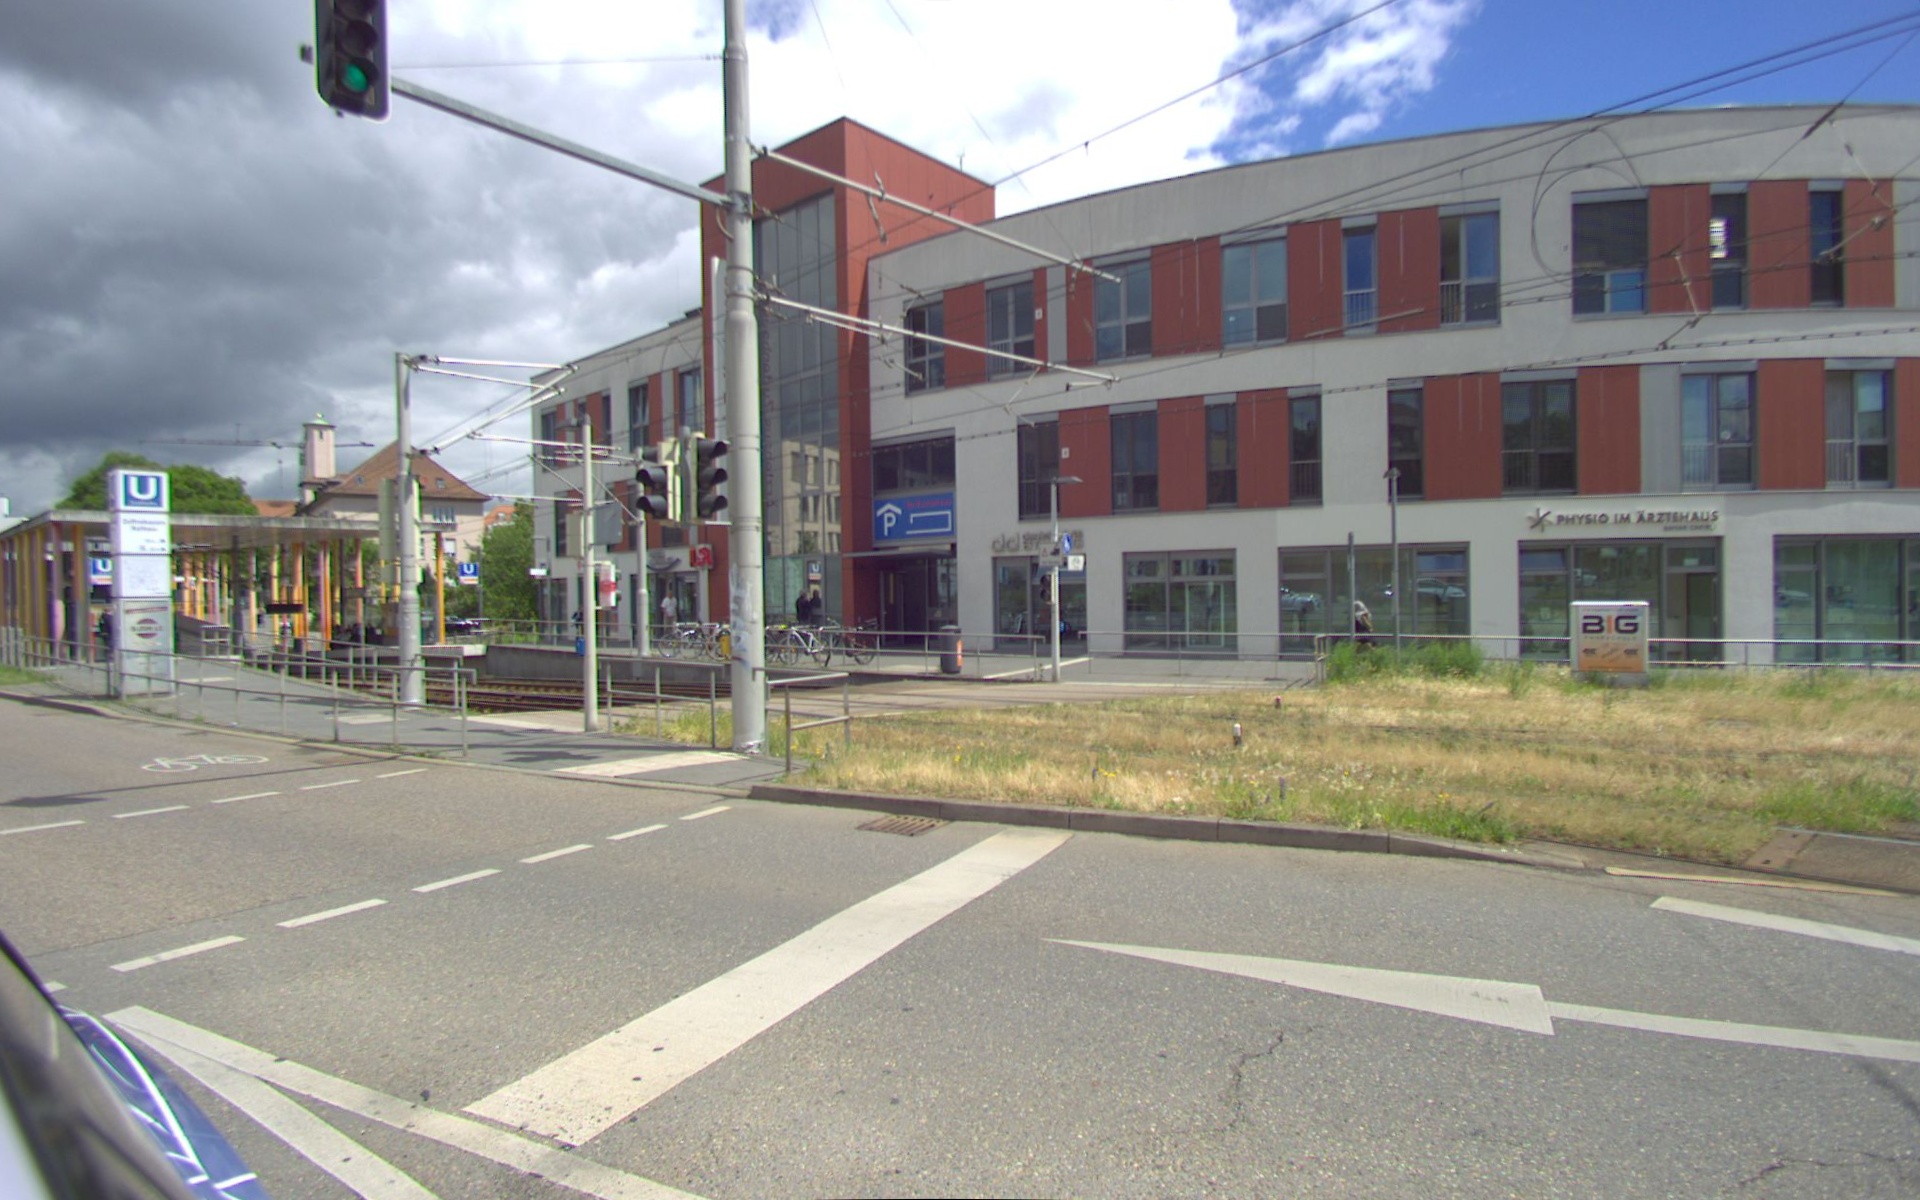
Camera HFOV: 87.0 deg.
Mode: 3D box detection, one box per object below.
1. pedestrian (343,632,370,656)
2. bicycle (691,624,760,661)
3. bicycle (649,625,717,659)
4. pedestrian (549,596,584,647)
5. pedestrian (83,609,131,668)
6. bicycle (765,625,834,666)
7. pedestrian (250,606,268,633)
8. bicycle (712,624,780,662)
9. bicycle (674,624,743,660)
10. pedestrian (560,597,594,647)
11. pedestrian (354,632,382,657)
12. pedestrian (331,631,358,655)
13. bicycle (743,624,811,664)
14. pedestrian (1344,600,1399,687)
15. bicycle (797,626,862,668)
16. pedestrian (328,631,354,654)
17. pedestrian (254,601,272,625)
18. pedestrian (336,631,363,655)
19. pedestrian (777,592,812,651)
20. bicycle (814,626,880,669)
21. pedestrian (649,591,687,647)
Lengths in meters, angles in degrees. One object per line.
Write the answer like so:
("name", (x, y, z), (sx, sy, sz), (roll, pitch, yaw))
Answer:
("pedestrian", (-29.396, 2.132, 49.276), (0.886, 1.143, 0.931), (-2, -1, 42))
("bicycle", (-6.369, 1.152, 27.590), (1.835, 0.929, 0.455), (0, 0, -42))
("bicycle", (-7.875, 1.192, 28.837), (1.834, 0.888, 0.455), (0, 0, -41))
("pedestrian", (-15.729, 0.854, 40.409), (1.105, 1.983, 0.853), (0, -1, 39))
("pedestrian", (-28.268, 1.261, 33.545), (0.864, 1.929, 1.090), (0, -1, 42))
("bicycle", (-4.055, 1.139, 25.707), (0.454, 0.942, 1.837), (-1, 0, 43))
("pedestrian", (-54.640, 1.514, 78.924), (1.110, 2.029, 1.461), (0, -1, -36))
("bicycle", (-5.697, 1.139, 26.991), (1.836, 0.946, 0.455), (0, 0, -45))
("bicycle", (-6.982, 1.155, 28.149), (1.835, 0.939, 0.455), (0, 0, -41))
("pedestrian", (-15.435, 0.862, 40.789), (1.105, 1.983, 0.853), (0, -1, 39))
("pedestrian", (-28.547, 2.132, 48.801), (0.886, 1.143, 0.931), (-2, -1, 42))
("pedestrian", (-30.803, 2.139, 50.629), (0.886, 1.143, 0.931), (-2, -1, 42))
("bicycle", (-4.739, 1.128, 26.342), (0.454, 0.970, 1.837), (-1, 0, 43))
("pedestrian", (9.636, 0.996, 23.761), (1.106, 1.983, 0.860), (0, -1, 17))
("bicycle", (-3.224, 1.138, 25.081), (0.428, 0.965, 1.716), (-1, 0, 43))
("pedestrian", (-31.423, 2.154, 51.388), (0.886, 1.143, 0.931), (-2, -1, 42))
("pedestrian", (-58.315, 1.091, 84.657), (1.112, 2.029, 1.180), (0, -1, -44))
("pedestrian", (-30.113, 2.135, 49.911), (0.886, 1.143, 0.931), (-2, -1, 42))
("pedestrian", (-5.311, 0.666, 32.488), (0.856, 1.859, 0.876), (0, 1, 13))
("bicycle", (-2.737, 1.139, 24.677), (0.428, 0.959, 1.716), (-1, 0, 43))
("pedestrian", (-10.603, 0.689, 36.771), (1.106, 1.983, 0.852), (0, -1, 43))
